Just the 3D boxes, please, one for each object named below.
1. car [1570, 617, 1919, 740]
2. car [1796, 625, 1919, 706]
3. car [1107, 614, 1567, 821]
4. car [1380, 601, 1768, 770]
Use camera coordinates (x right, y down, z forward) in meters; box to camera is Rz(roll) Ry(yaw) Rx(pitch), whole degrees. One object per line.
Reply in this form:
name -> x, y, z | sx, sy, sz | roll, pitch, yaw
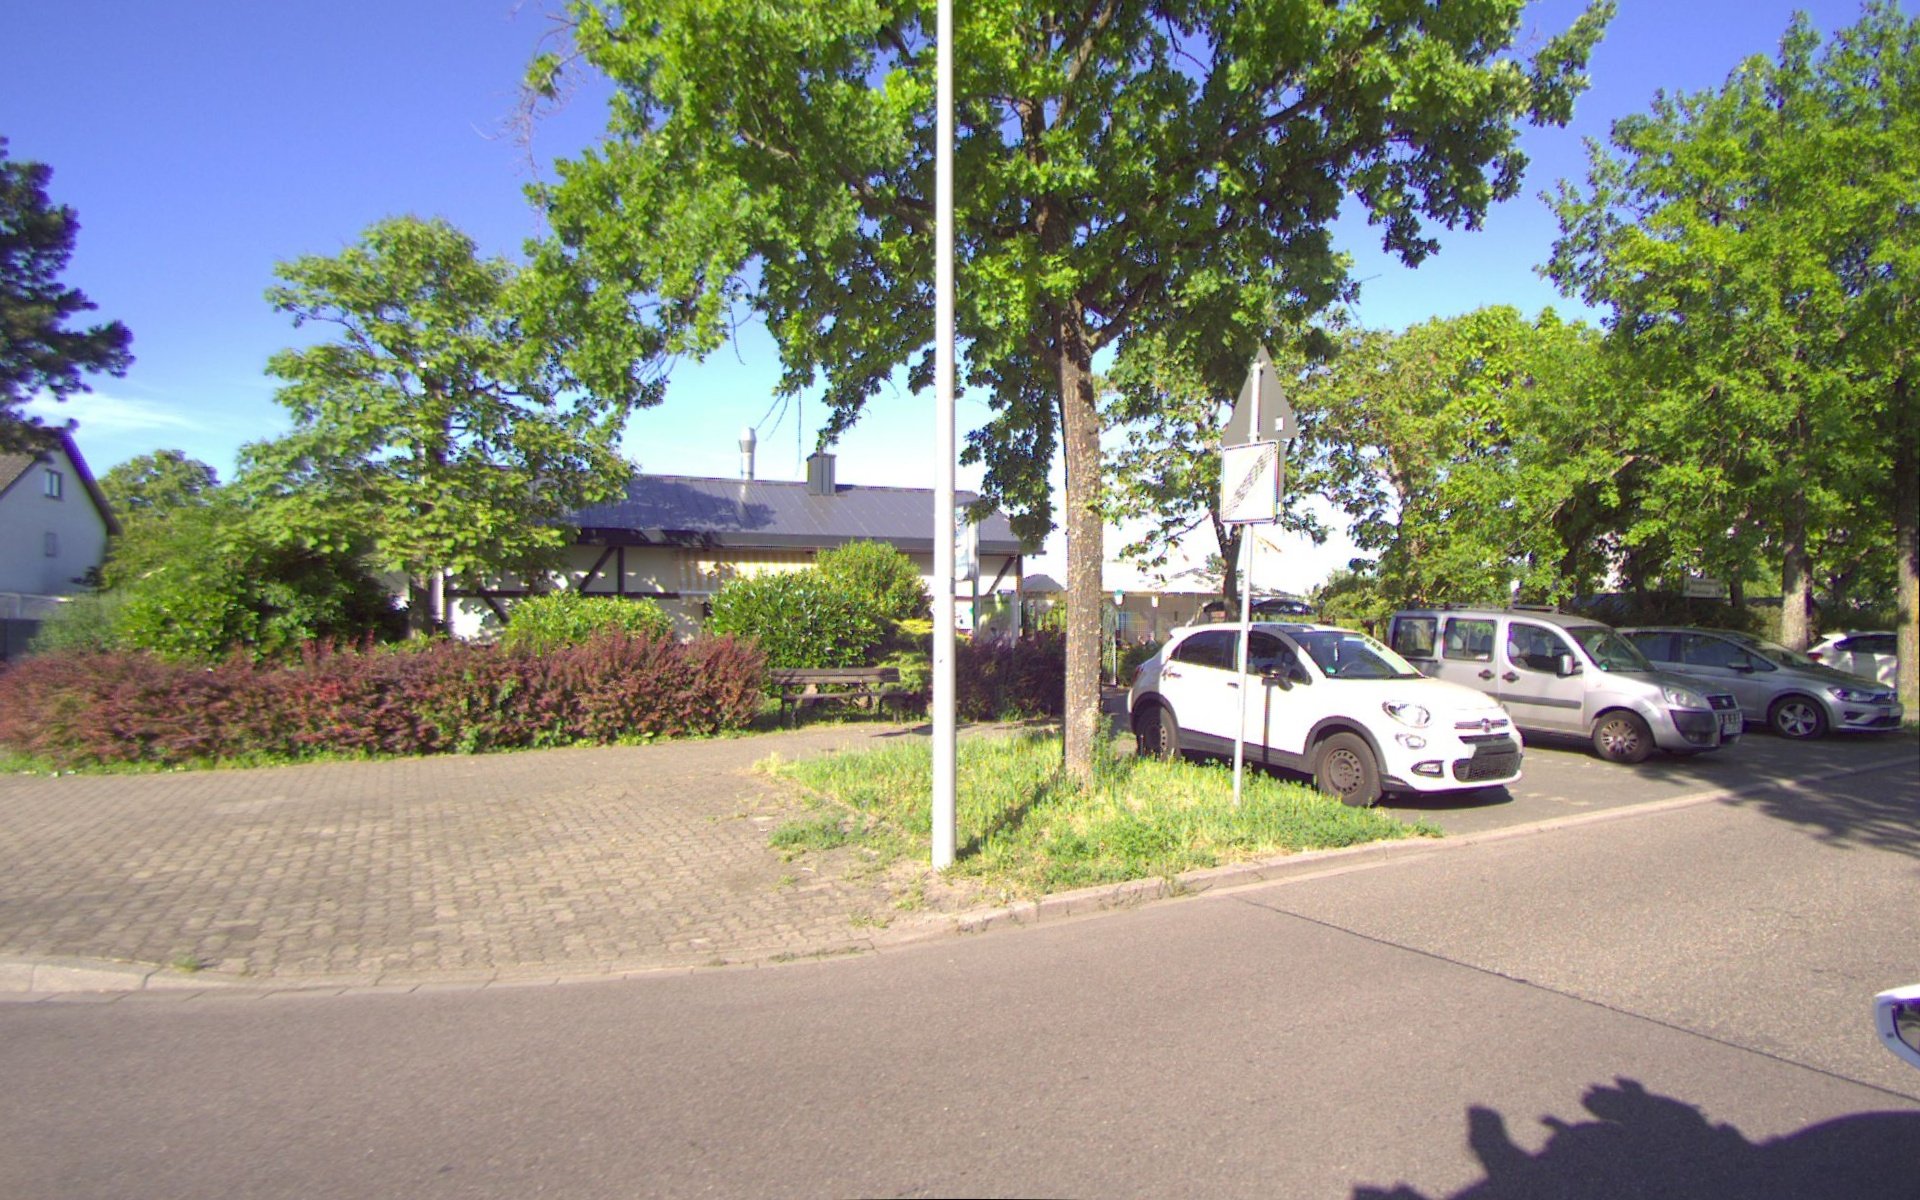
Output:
car -> 12.193, 1.144, 15.850 | 1.874, 1.669, 3.998 | 0, -2, -30
car -> 20.542, 1.364, 21.273 | 1.789, 1.669, 3.998 | 1, -2, -29
car -> 3.541, 1.001, 10.286 | 1.874, 1.644, 4.223 | 1, -2, -29
car -> 7.900, 1.003, 13.325 | 1.874, 1.864, 3.998 | 0, -1, -30
